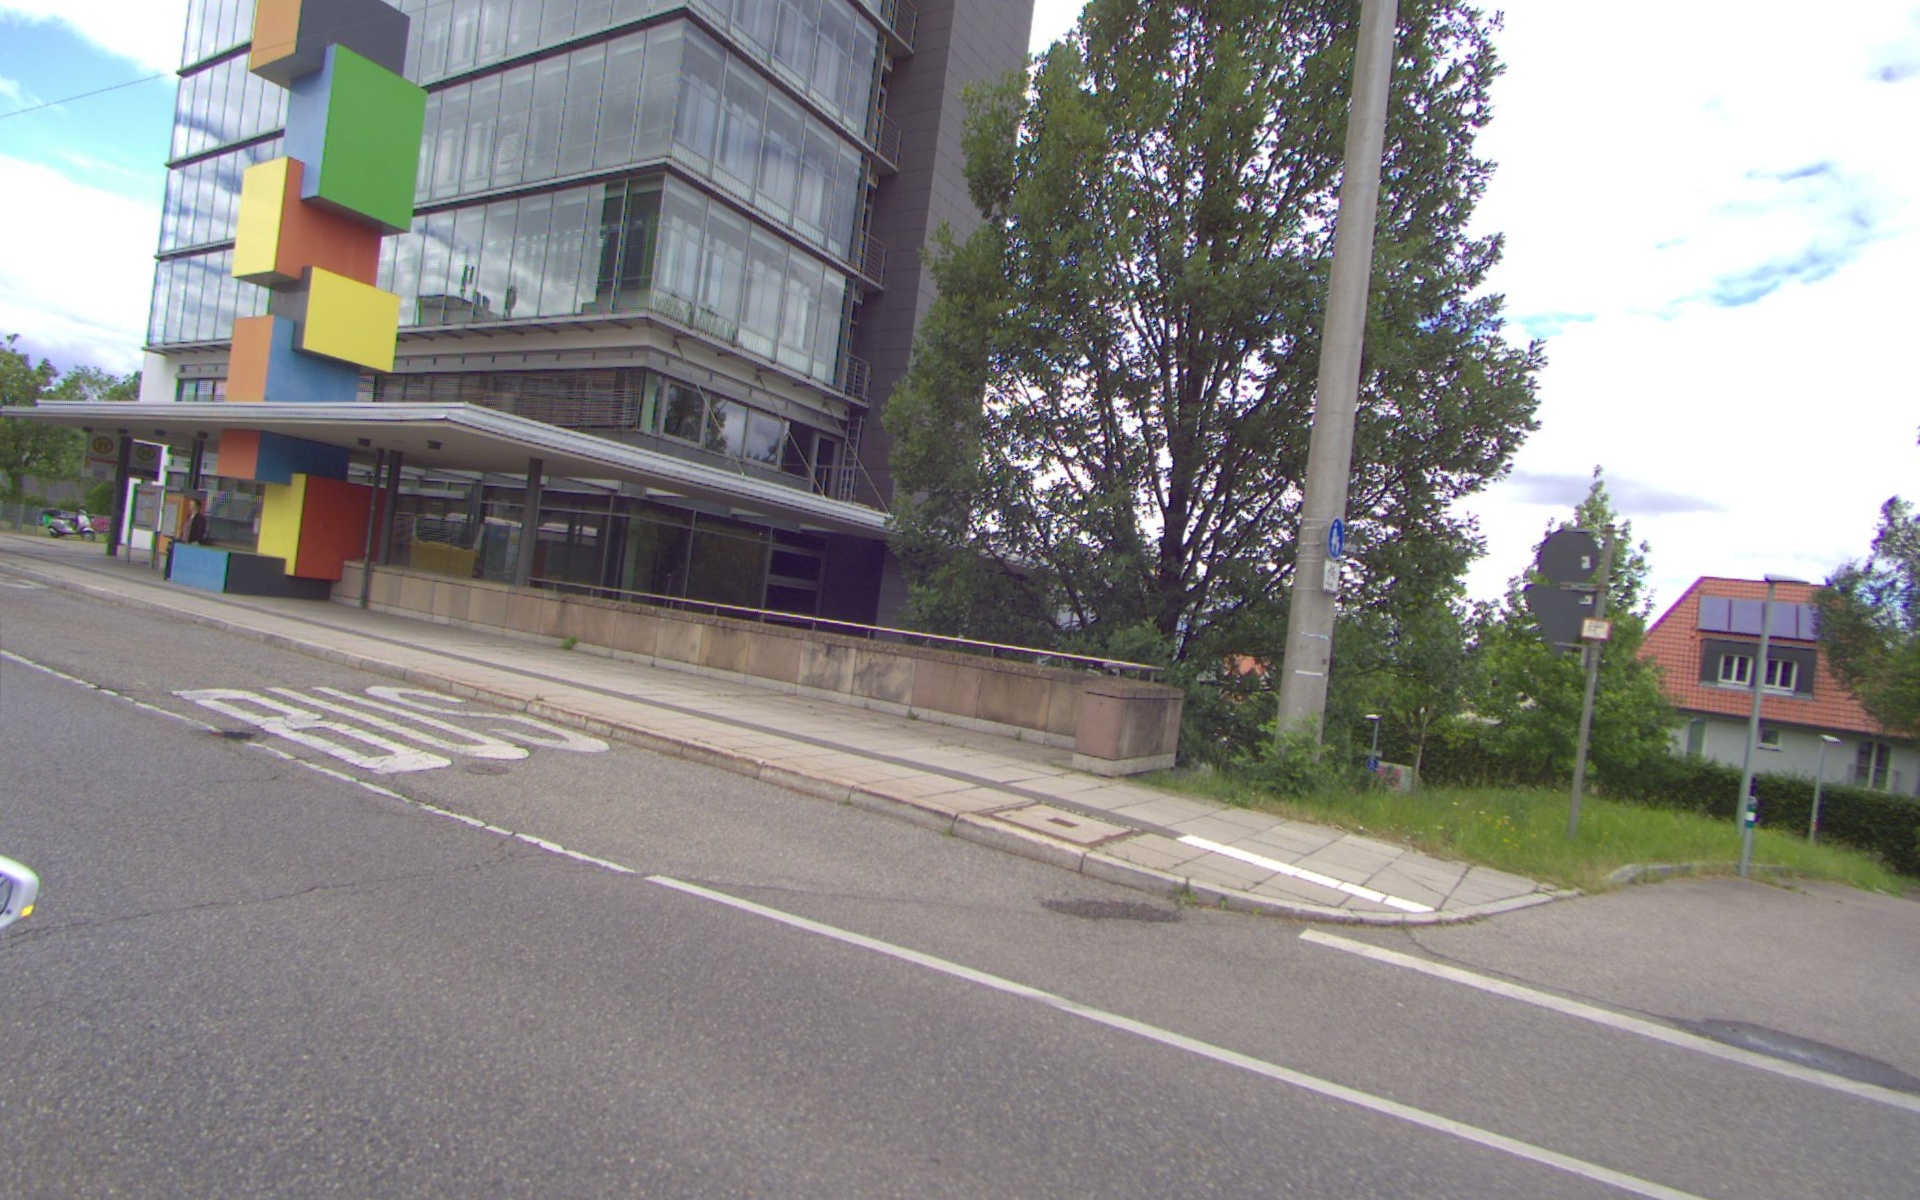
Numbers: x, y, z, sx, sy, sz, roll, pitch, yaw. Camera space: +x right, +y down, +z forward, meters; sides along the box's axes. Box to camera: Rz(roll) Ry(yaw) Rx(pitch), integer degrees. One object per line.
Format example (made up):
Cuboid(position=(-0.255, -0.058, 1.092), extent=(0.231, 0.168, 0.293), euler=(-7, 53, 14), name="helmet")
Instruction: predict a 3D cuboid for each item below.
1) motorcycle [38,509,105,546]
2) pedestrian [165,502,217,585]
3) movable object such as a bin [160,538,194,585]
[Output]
Cuboid(position=(-33.202, -2.692, 37.615), extent=(1.748, 1.083, 0.634), euler=(8, -1, -6), name="motorcycle")
Cuboid(position=(-16.537, -1.213, 21.635), extent=(0.721, 1.693, 0.525), euler=(7, 0, 34), name="pedestrian")
Cuboid(position=(-16.301, -0.800, 20.945), extent=(0.455, 0.908, 0.356), euler=(7, 0, 34), name="movable object such as a bin")
